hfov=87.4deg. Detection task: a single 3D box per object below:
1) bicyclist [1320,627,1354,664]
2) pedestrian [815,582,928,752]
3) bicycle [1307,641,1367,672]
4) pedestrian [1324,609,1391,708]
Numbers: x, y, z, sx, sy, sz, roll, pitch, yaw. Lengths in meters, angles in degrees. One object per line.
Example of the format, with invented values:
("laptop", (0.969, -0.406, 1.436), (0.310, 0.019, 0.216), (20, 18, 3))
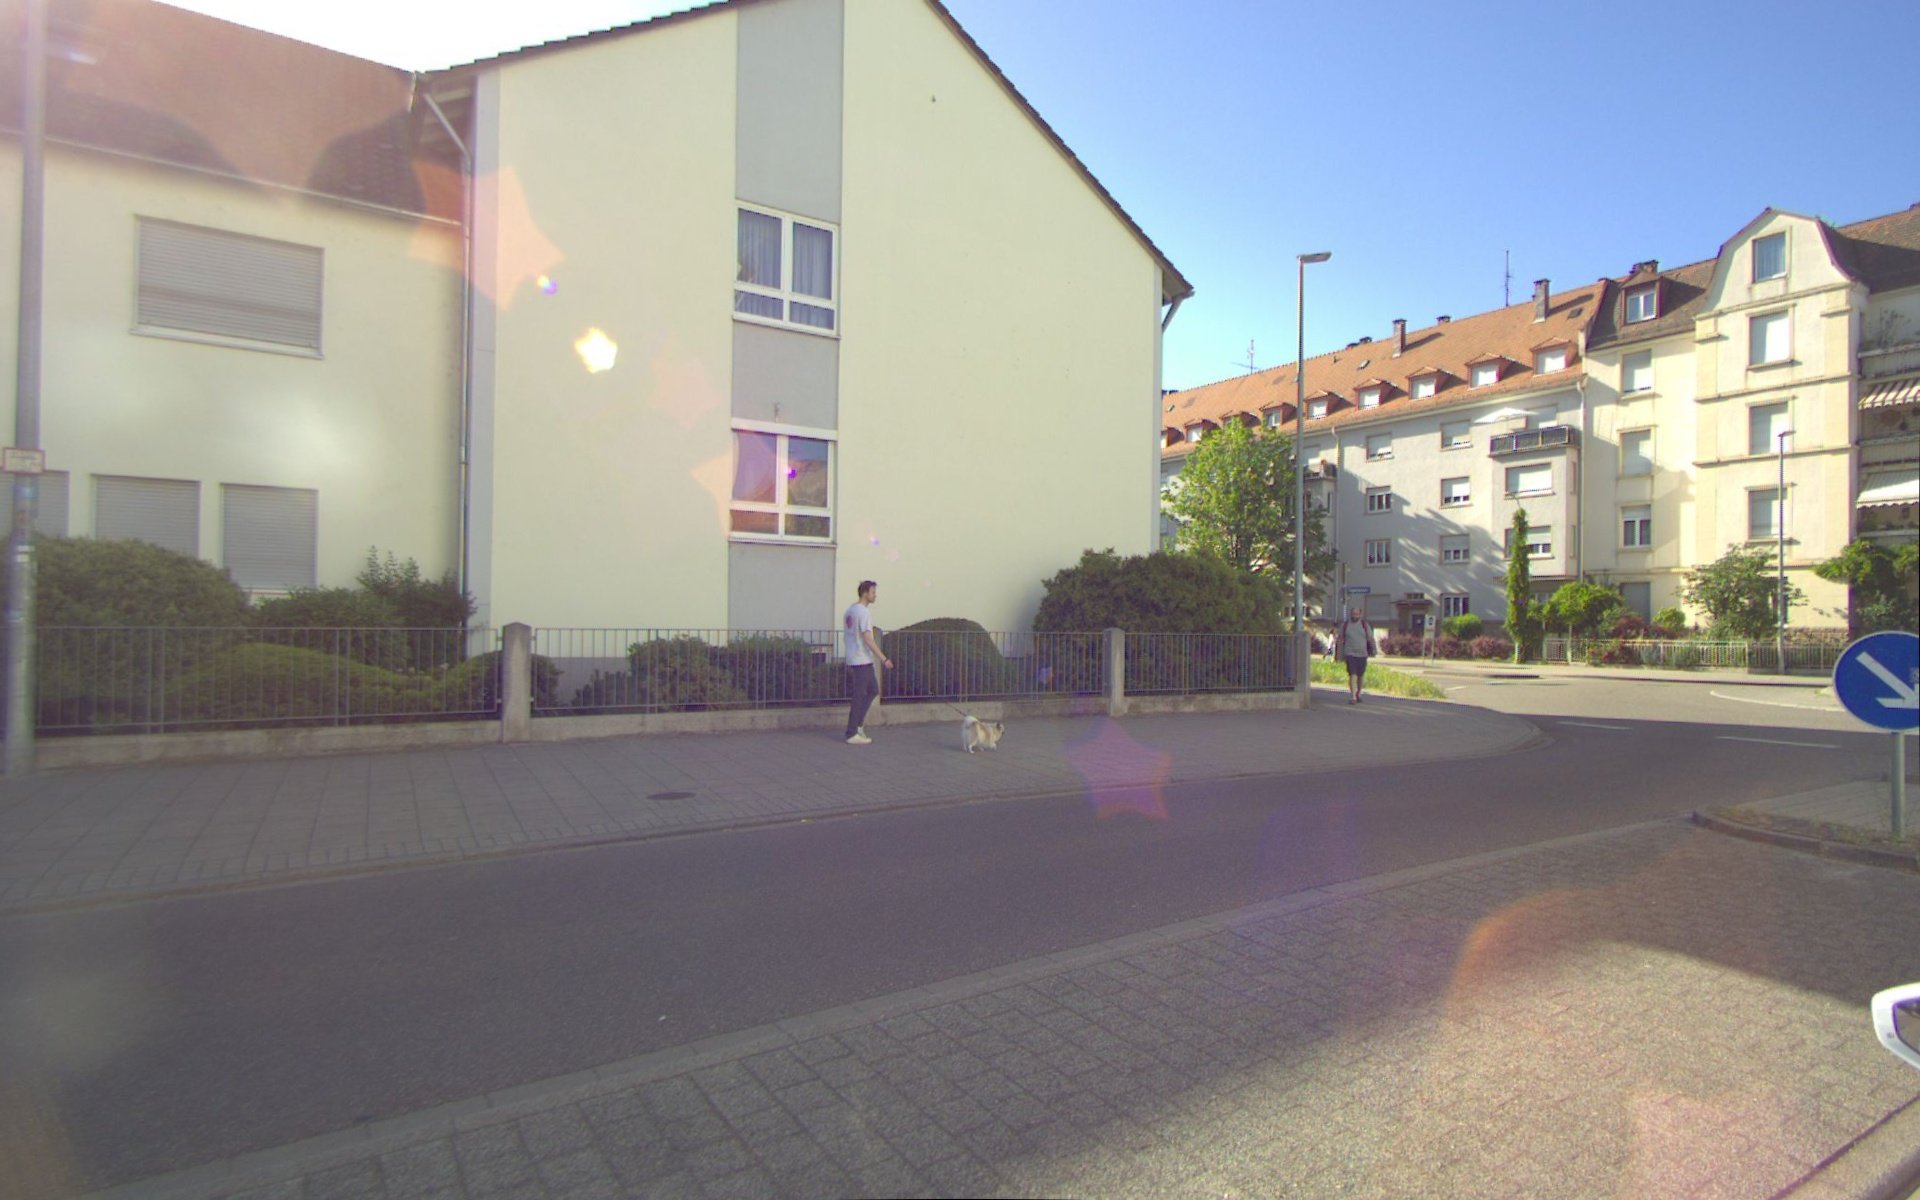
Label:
("bicyclist", (13.849, 1.676, 36.881), (0.799, 1.329, 0.821), (1, 0, -21))
("pedestrian", (-0.952, 0.691, 10.759), (0.985, 1.728, 0.687), (1, 0, -30))
("bicycle", (13.834, 2.050, 36.892), (0.799, 1.028, 2.200), (1, 0, -21))
("pedestrian", (7.165, 1.034, 18.151), (0.803, 1.728, 0.997), (1, 0, 0))
